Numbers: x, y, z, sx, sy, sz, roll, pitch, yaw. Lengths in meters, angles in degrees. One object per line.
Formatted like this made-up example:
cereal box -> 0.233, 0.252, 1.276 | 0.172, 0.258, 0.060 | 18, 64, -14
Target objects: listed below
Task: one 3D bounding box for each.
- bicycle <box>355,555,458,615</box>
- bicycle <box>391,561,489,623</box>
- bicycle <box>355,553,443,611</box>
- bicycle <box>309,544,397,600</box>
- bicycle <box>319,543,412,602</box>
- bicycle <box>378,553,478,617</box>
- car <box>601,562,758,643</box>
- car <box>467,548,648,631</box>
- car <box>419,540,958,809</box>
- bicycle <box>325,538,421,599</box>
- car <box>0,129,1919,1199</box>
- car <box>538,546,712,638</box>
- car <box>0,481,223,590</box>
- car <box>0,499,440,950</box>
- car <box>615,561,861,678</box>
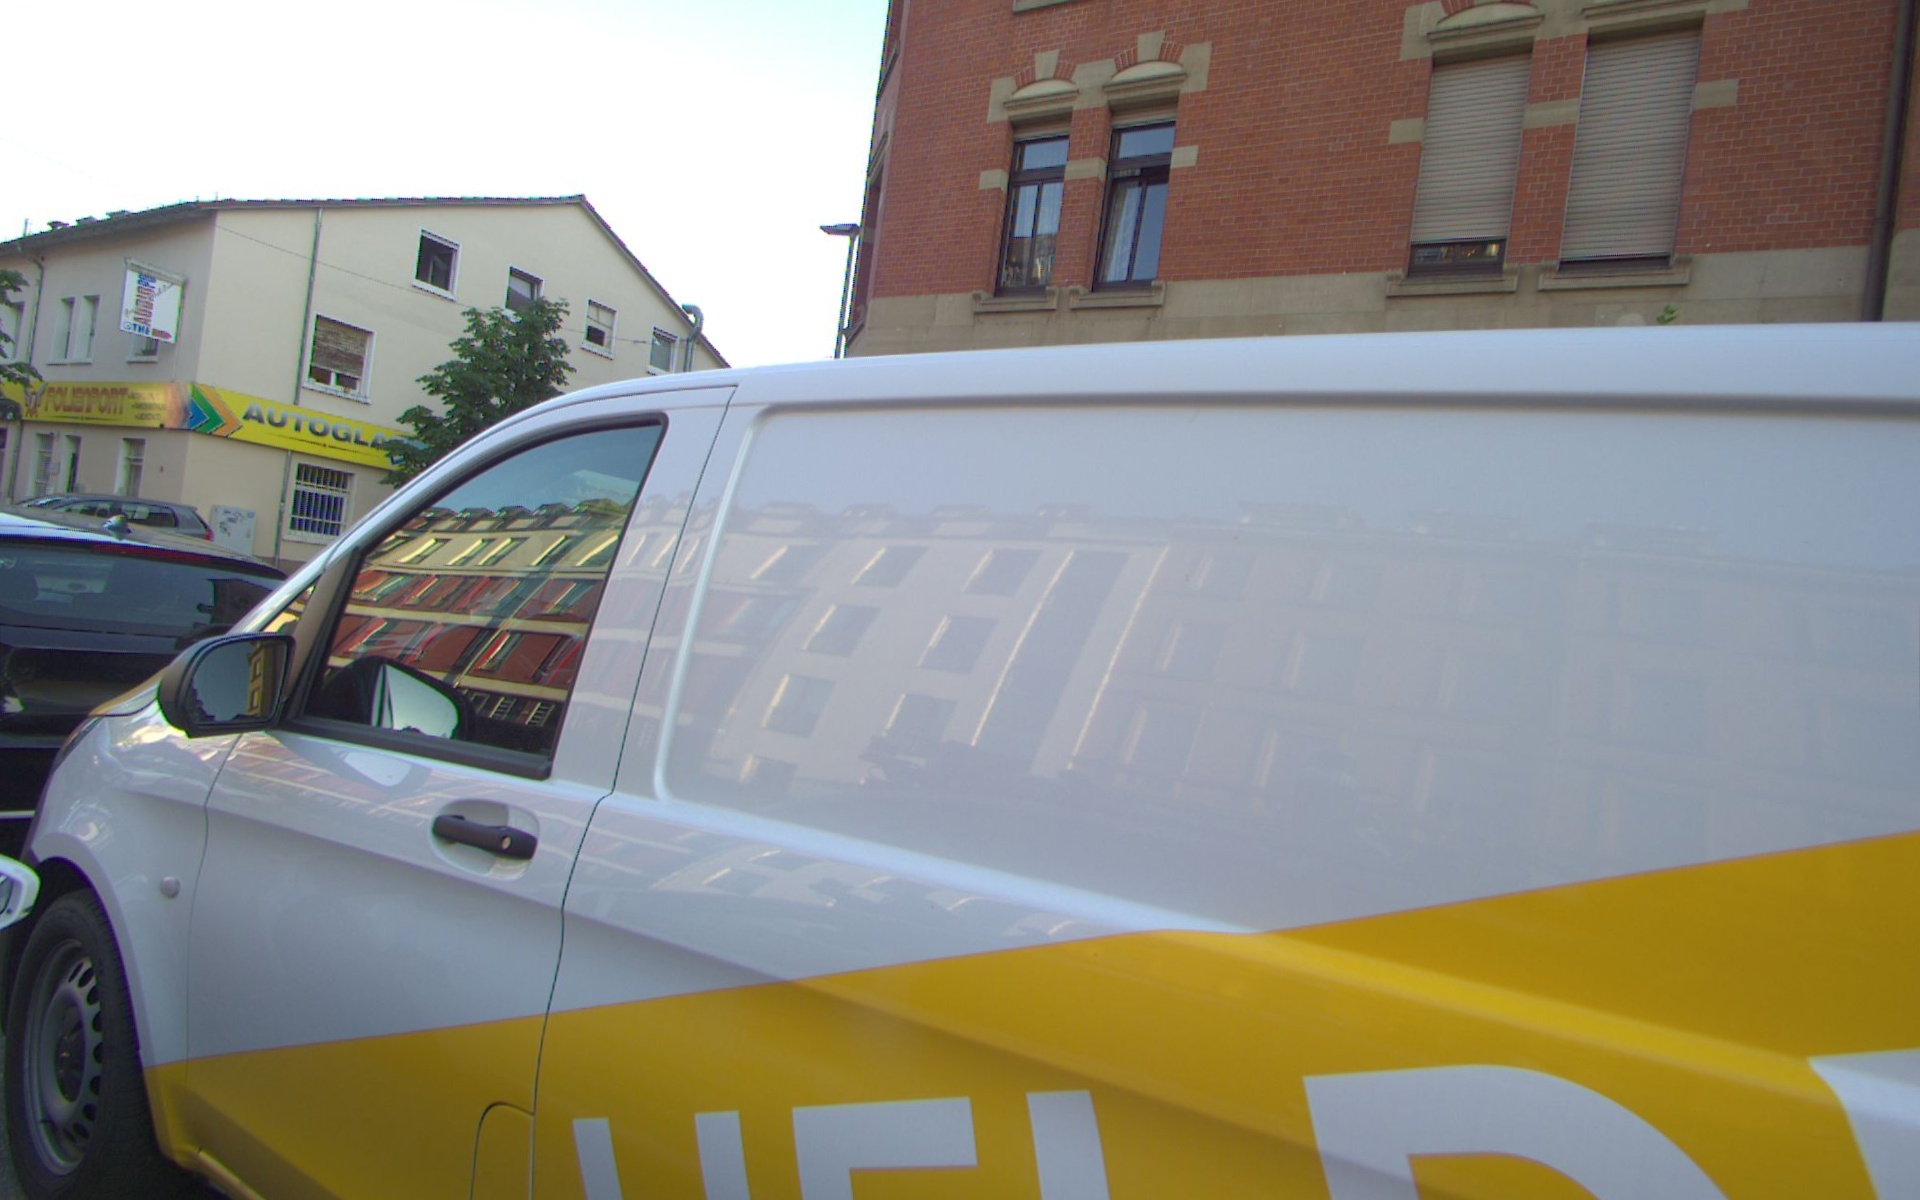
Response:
bicycle -> -11.929, -0.311, 21.746 | 0.421, 1.022, 1.853 | 10, -1, 32
bicycle -> -10.968, -0.151, 21.294 | 0.420, 1.087, 1.856 | 10, -1, 23
bicycle -> -12.304, -0.377, 22.121 | 0.338, 1.053, 1.606 | 10, 0, 32
bicycle -> -13.699, -0.615, 22.750 | 0.338, 1.031, 1.606 | 10, 0, 30
bicycle -> -13.353, -0.593, 22.658 | 0.338, 1.082, 1.735 | 10, 0, 30
bicycle -> -11.336, -0.300, 21.506 | 0.420, 1.141, 1.925 | 8, -1, 23
car -> -8.356, 0.058, 29.889 | 4.259, 1.924, 1.876 | 5, -1, 30
car -> -10.340, -0.280, 25.794 | 4.494, 1.527, 1.744 | 7, 0, 29
car -> -2.386, 0.481, 8.486 | 4.348, 1.442, 1.728 | 7, 1, 30
bicycle -> -13.753, -0.719, 23.638 | 0.338, 1.162, 1.864 | 10, 0, 32
car -> 0.026, 0.599, 2.061 | 4.996, 1.906, 1.897 | 7, -1, 31
car -> -9.266, -0.232, 27.761 | 4.499, 1.853, 1.876 | 9, 0, 30
car -> -16.121, -1.199, 18.206 | 1.727, 1.533, 4.054 | 9, 1, 32
car -> -4.593, 0.250, 4.749 | 4.181, 1.440, 1.725 | 7, -2, 31
car -> -3.859, 0.437, 18.261 | 1.846, 1.692, 4.327 | 6, -2, 29
